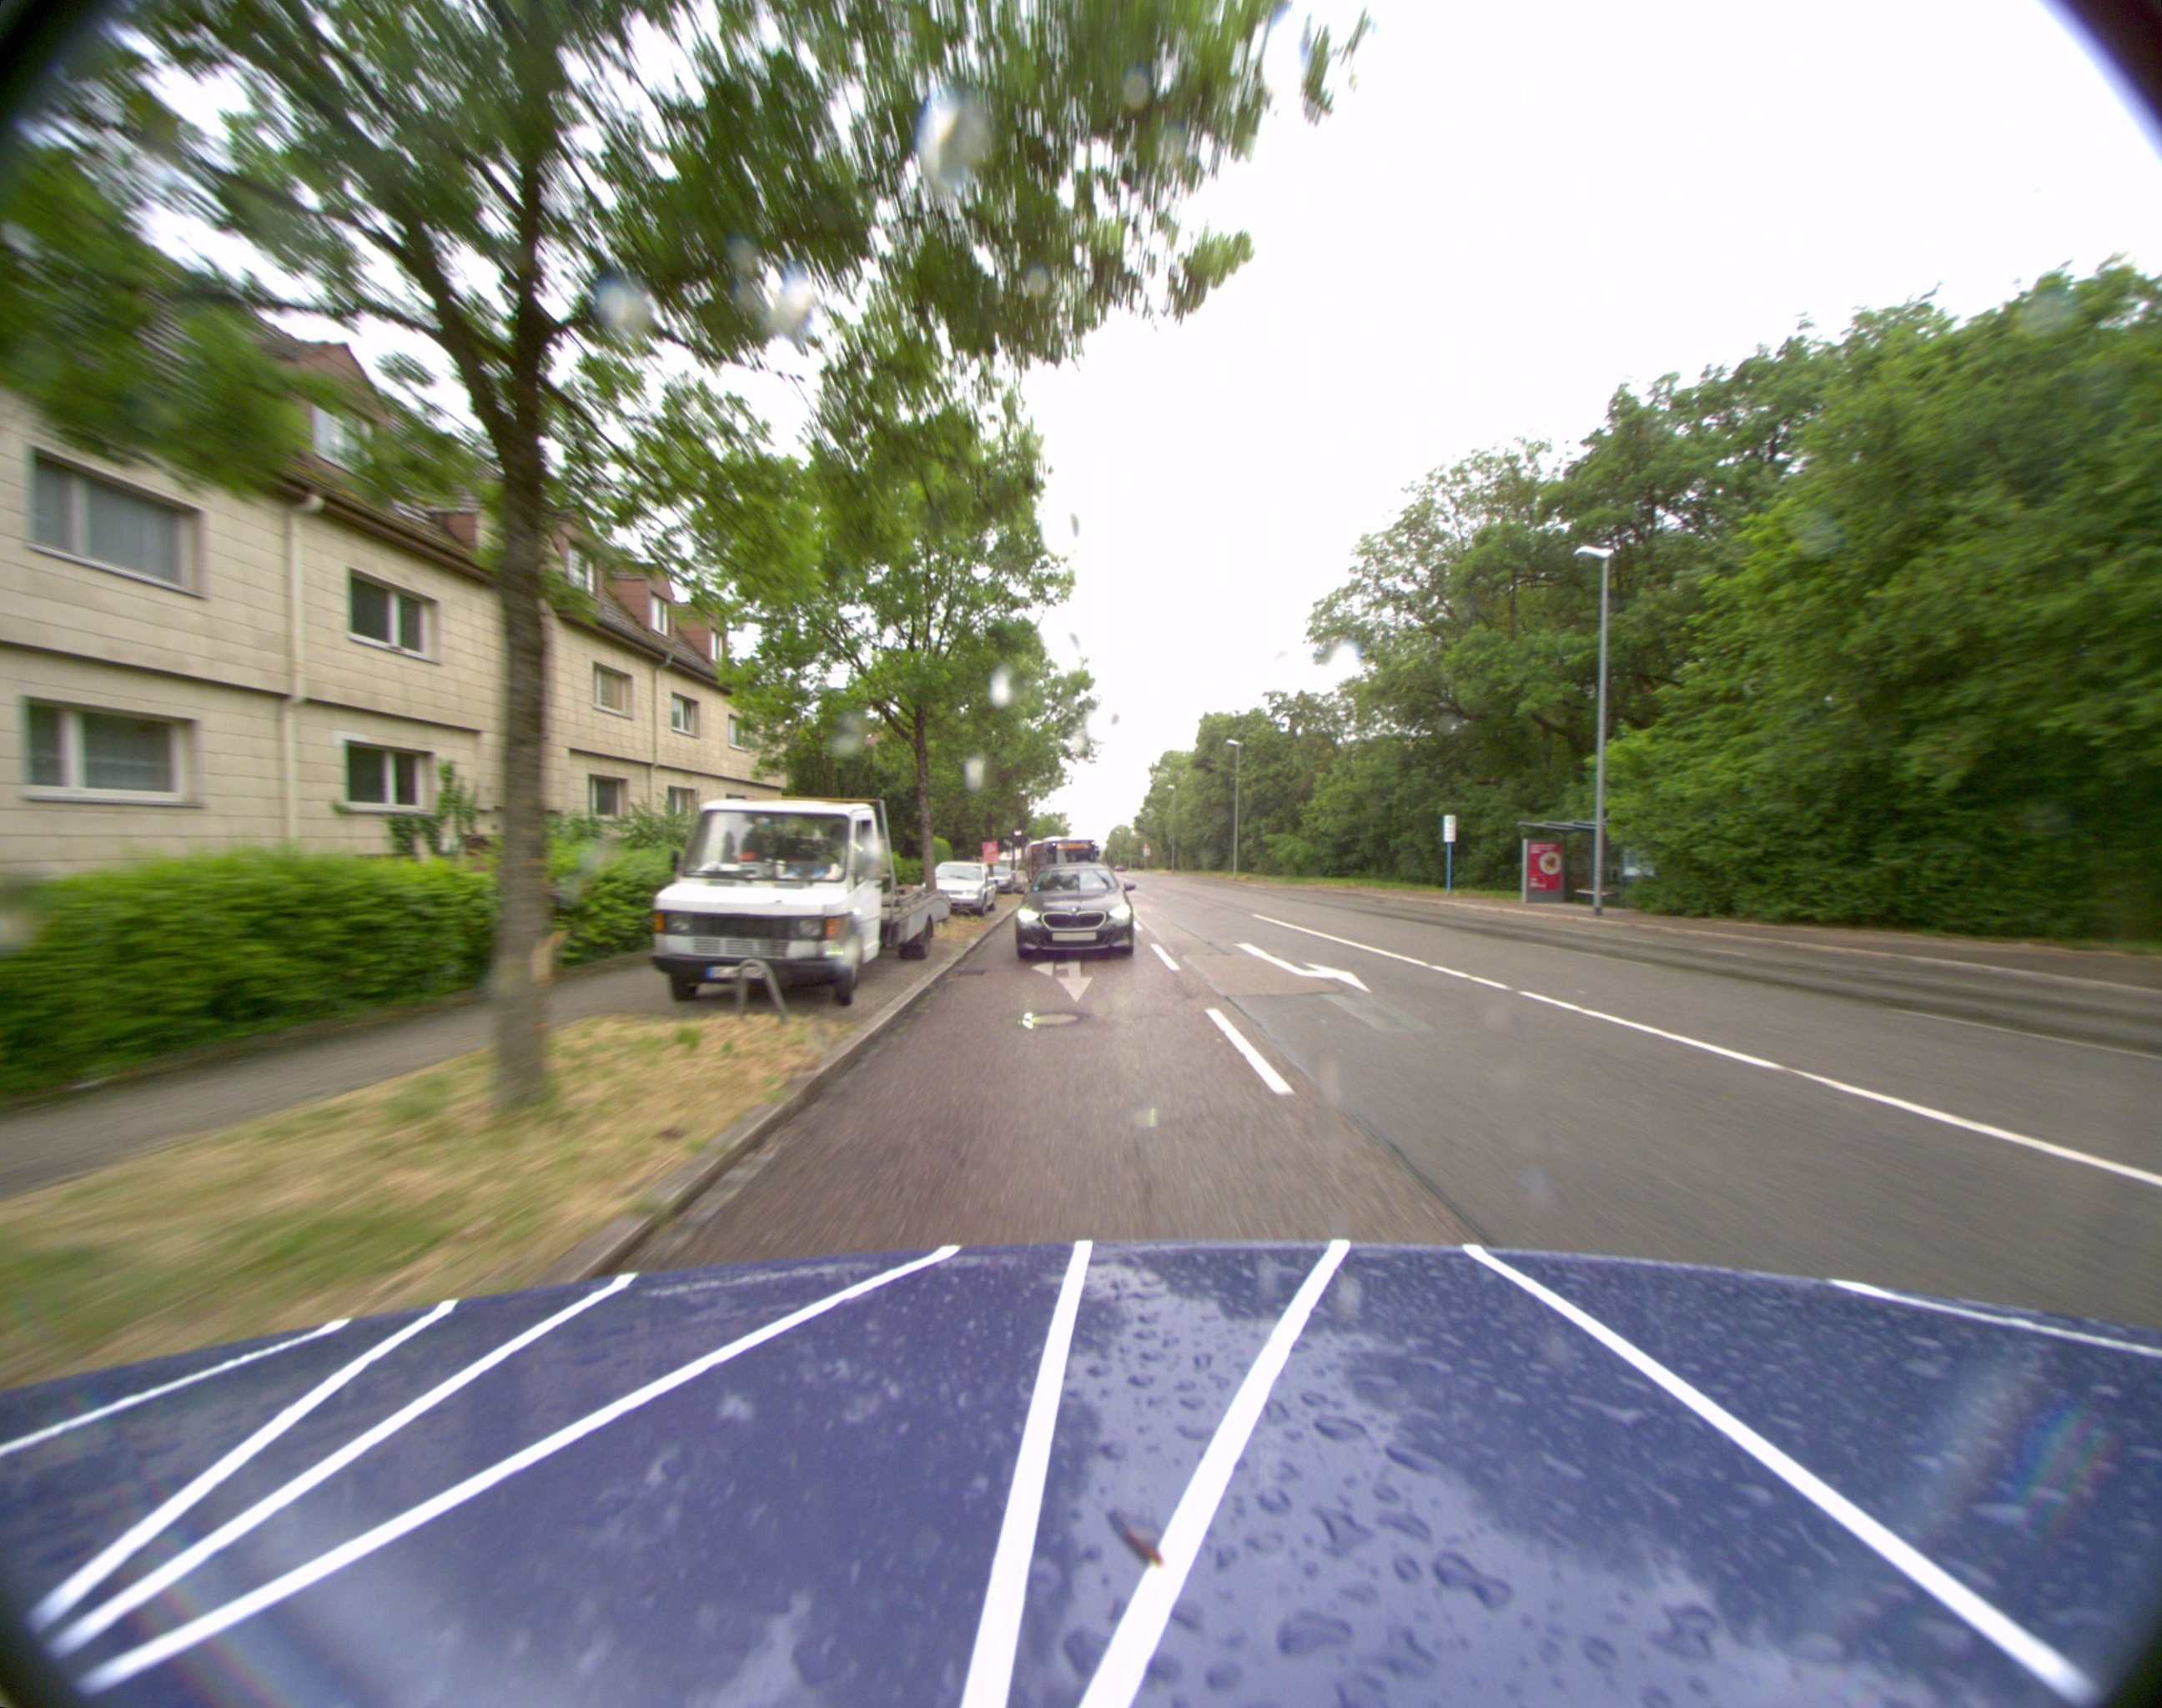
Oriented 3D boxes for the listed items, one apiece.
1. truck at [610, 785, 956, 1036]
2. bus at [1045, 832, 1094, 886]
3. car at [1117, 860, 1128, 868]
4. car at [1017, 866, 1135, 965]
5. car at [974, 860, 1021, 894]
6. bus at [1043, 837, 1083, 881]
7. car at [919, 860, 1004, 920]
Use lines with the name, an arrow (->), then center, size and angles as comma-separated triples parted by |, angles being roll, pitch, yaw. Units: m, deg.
truck -> -3.259, 0.523, 10.209 | 2.085, 2.208, 6.501 | 3, 0, -1
bus -> -0.859, 0.310, 46.494 | 2.563, 2.942, 9.447 | -1, 0, -3
car -> 8.449, 2.041, 154.377 | 1.748, 1.423, 4.388 | 2, 0, -1
car -> -0.178, 1.014, 14.345 | 1.856, 1.461, 4.482 | -1, 0, -3
car -> -3.738, 1.009, 34.788 | 1.692, 1.381, 4.499 | 2, 0, -1
bus -> -1.420, 0.331, 55.440 | 2.562, 2.942, 8.554 | -1, 0, -4
car -> -3.223, 0.937, 21.195 | 1.605, 1.428, 4.022 | 3, -1, 1
